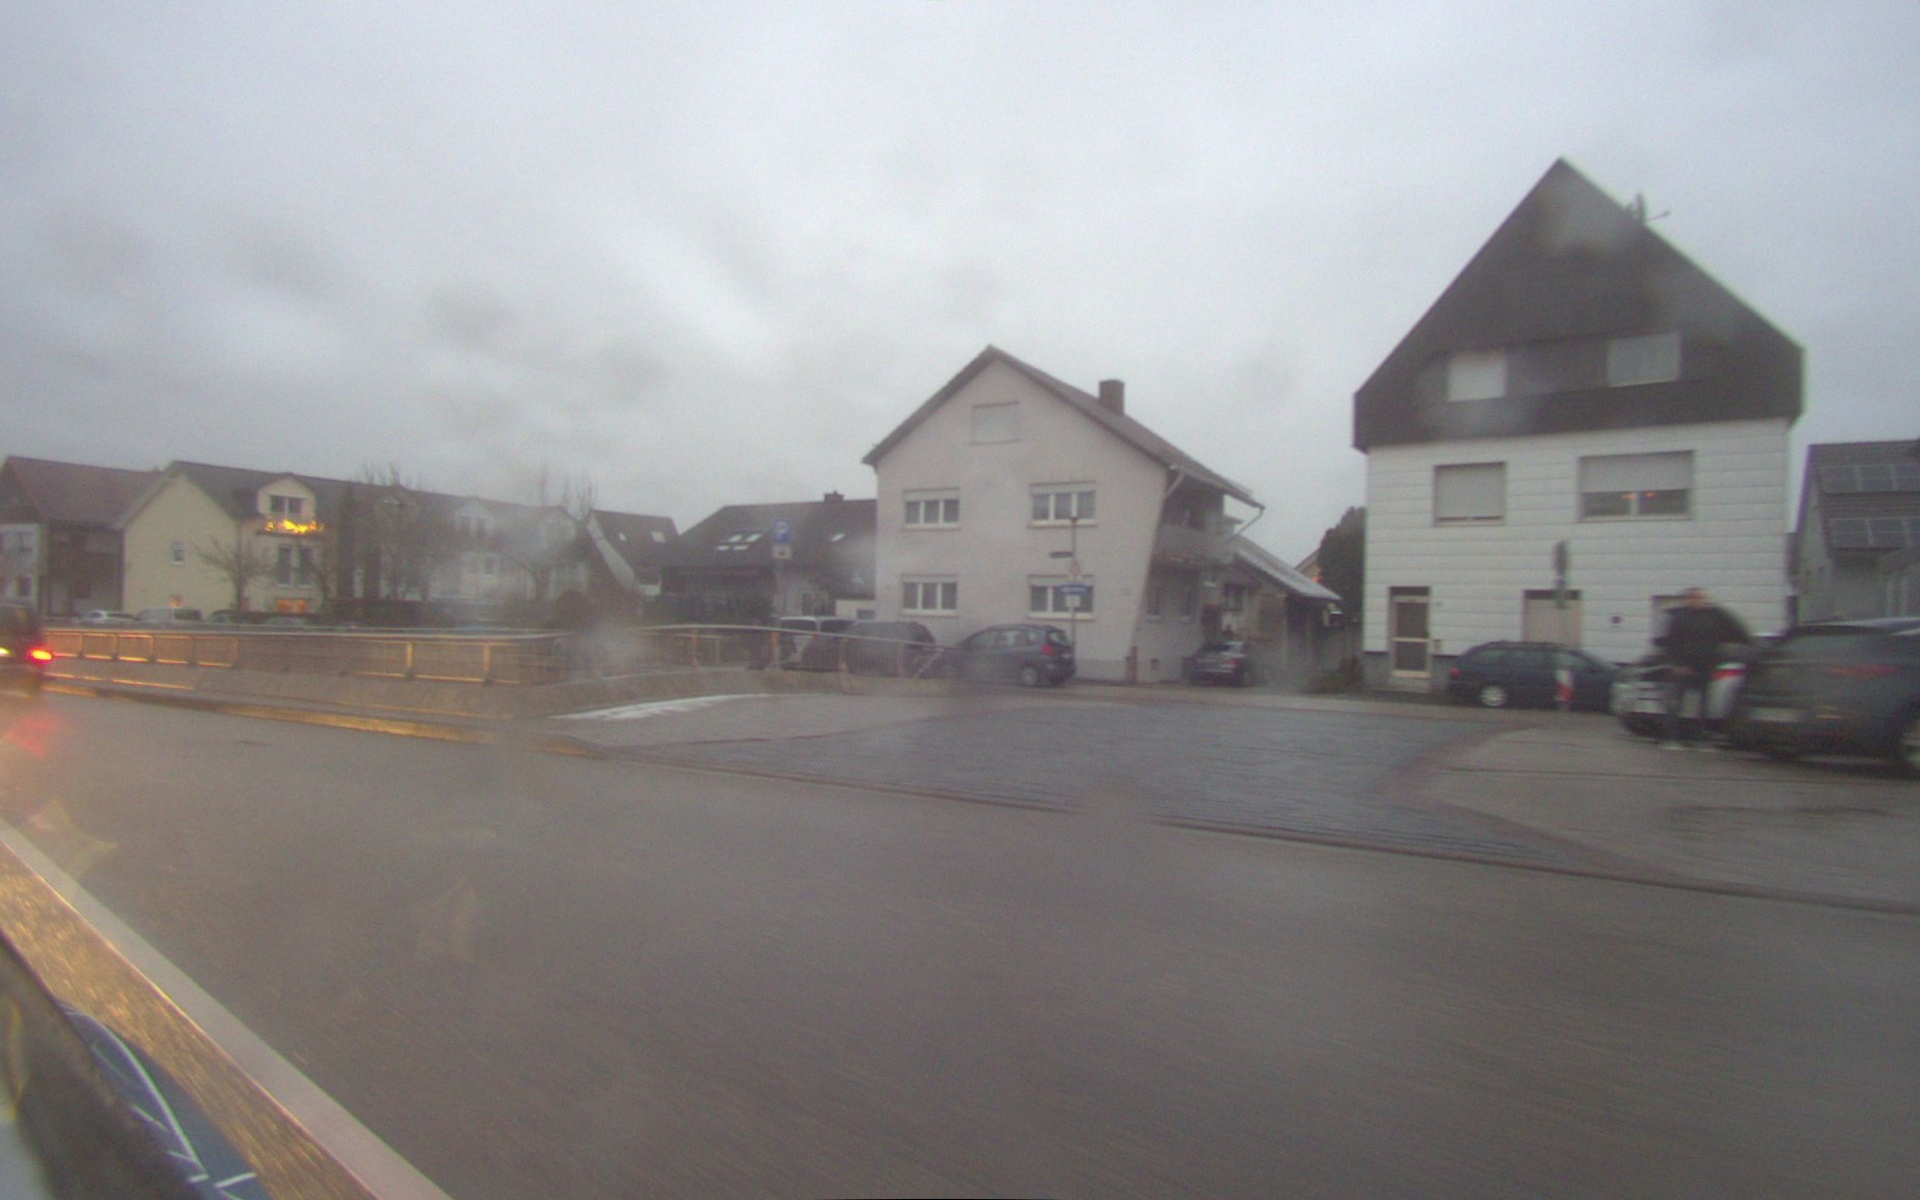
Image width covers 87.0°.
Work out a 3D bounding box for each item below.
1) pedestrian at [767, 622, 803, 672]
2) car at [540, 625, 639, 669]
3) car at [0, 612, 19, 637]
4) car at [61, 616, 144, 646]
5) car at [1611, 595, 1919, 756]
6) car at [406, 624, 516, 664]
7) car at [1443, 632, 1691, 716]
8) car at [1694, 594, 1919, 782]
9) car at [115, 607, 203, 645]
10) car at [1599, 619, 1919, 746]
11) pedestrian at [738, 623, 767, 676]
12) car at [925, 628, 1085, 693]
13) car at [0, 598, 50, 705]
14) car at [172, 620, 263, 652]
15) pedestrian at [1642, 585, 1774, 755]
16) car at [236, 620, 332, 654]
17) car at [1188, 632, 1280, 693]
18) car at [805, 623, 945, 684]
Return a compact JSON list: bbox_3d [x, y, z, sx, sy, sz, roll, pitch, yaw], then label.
[{"bbox_3d":[-4.530,1.204,26.219,0.601,1.259,0.685,-1,-2,35],"label":"pedestrian"},{"bbox_3d":[-13.579,1.691,37.068,3.488,1.520,1.464,0,-2,29],"label":"car"},{"bbox_3d":[-57.031,1.390,58.703,4.584,1.480,1.787,0,-2,22],"label":"car"},{"bbox_3d":[-45.651,1.656,53.881,3.989,1.480,1.664,0,-4,22],"label":"car"},{"bbox_3d":[10.075,0.869,11.672,3.847,1.683,1.837,1,-4,5],"label":"car"},{"bbox_3d":[-20.313,1.767,41.194,4.234,1.480,1.784,0,-2,26],"label":"car"},{"bbox_3d":[13.168,1.536,22.082,4.418,1.511,1.893,-1,2,39],"label":"car"},{"bbox_3d":[9.541,0.776,9.316,4.122,1.542,1.913,1,-1,1],"label":"car"},{"bbox_3d":[-40.667,1.316,51.391,4.234,1.841,1.784,0,-2,26],"label":"car"},{"bbox_3d":[11.703,1.154,14.420,3.954,1.644,1.760,0,-4,9],"label":"car"},{"bbox_3d":[-5.204,1.232,25.414,0.594,1.312,0.511,0,-2,2],"label":"pedestrian"},{"bbox_3d":[1.206,1.587,27.675,4.082,1.581,1.760,0,-1,33],"label":"car"},{"bbox_3d":[-18.296,0.879,18.315,4.124,1.826,1.705,0,-1,33],"label":"car"},{"bbox_3d":[-36.203,1.736,49.319,4.234,1.480,1.784,0,-2,26],"label":"car"},{"bbox_3d":[7.890,0.727,10.717,0.832,1.725,0.722,0,-3,9],"label":"pedestrian"},{"bbox_3d":[-31.272,1.713,46.827,4.234,1.480,1.784,0,-2,26],"label":"car"},{"bbox_3d":[8.669,1.980,31.797,1.712,1.695,3.957,2,-3,31],"label":"car"},{"bbox_3d":[-2.555,1.536,30.248,3.944,1.673,1.687,0,-1,30],"label":"car"}]
